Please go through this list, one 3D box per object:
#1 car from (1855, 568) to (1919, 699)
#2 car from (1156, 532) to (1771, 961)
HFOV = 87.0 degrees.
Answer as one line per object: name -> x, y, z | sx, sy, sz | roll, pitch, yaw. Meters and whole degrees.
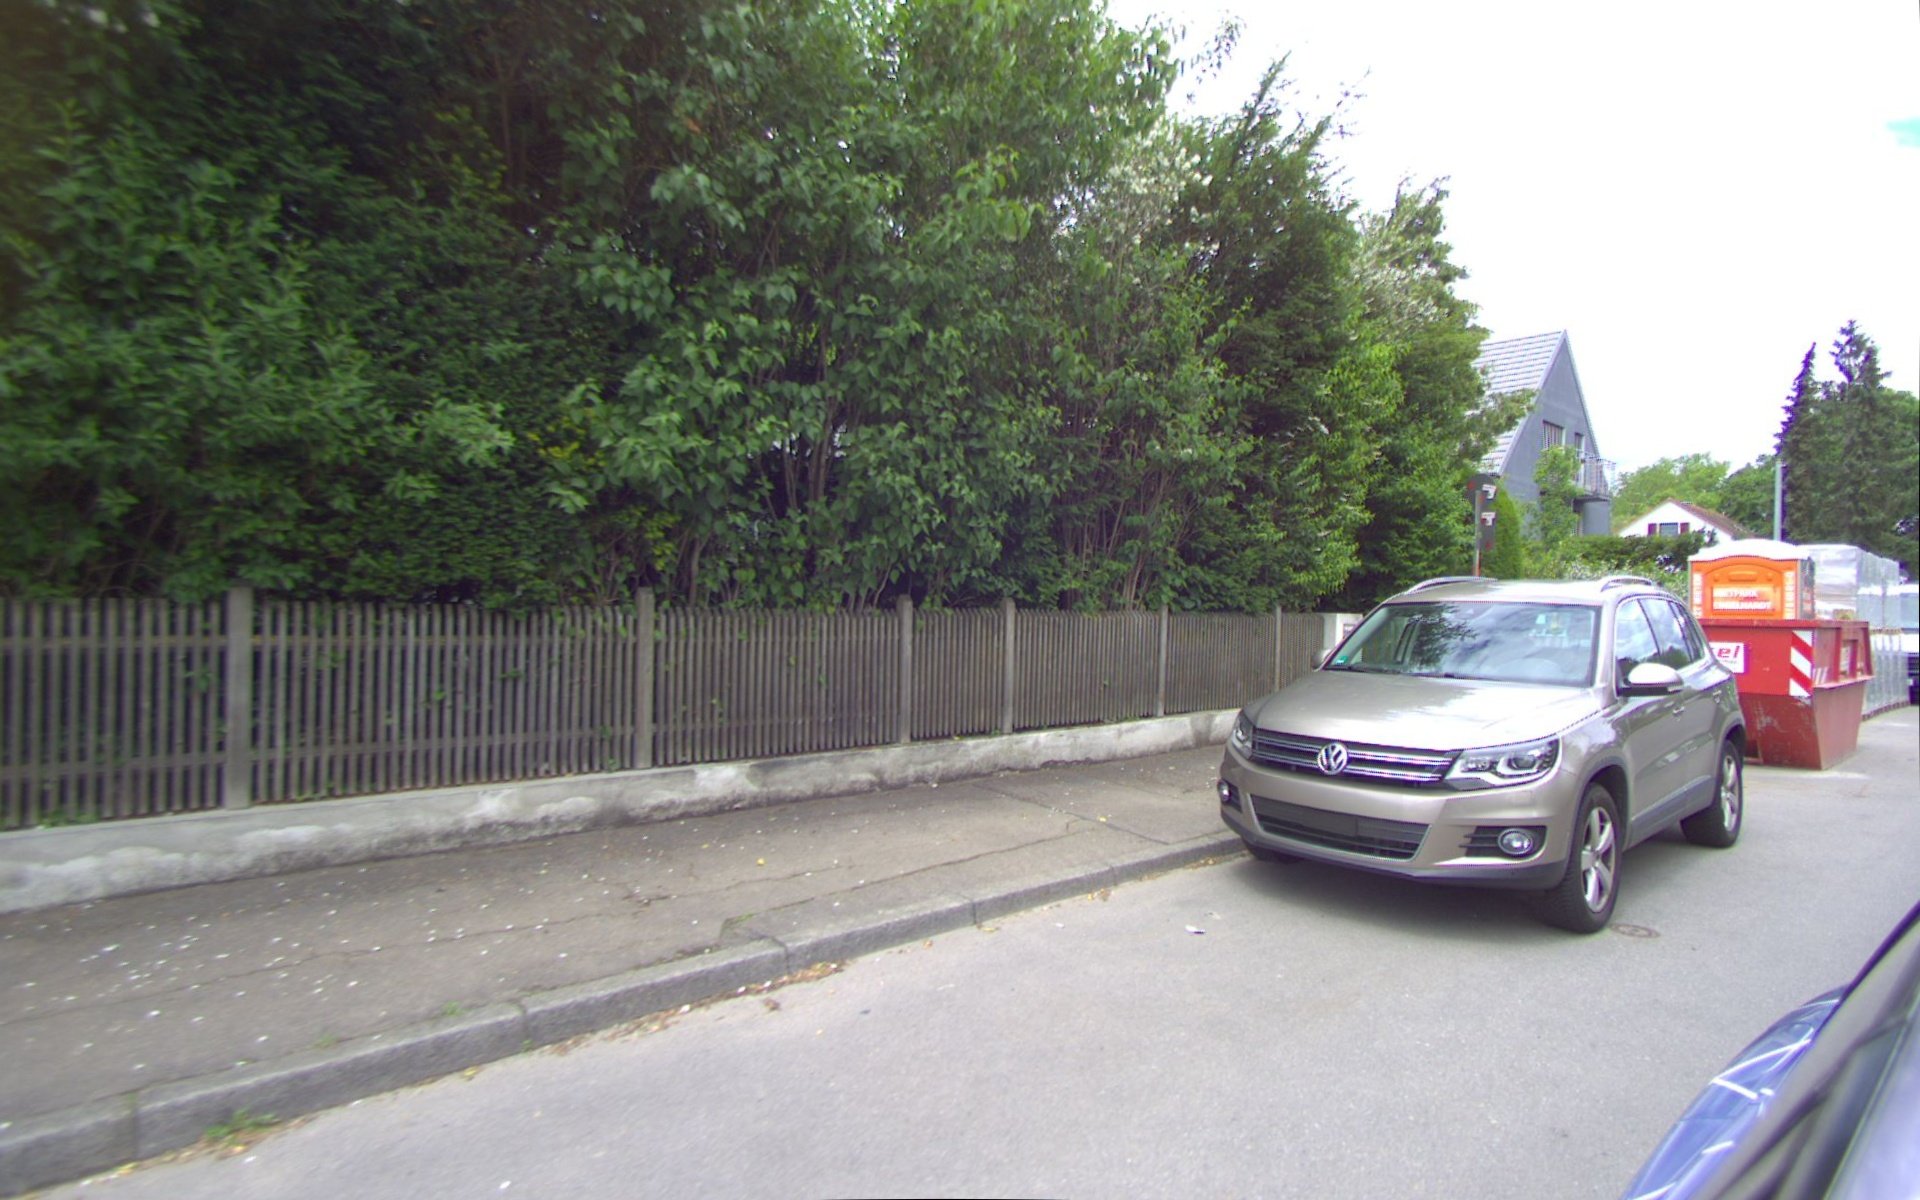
car -> 18.503, 0.556, 19.087 | 5.276, 2.252, 1.851 | 0, -1, -43
car -> 3.168, 0.607, 5.967 | 4.053, 1.653, 1.876 | 2, -1, -42
